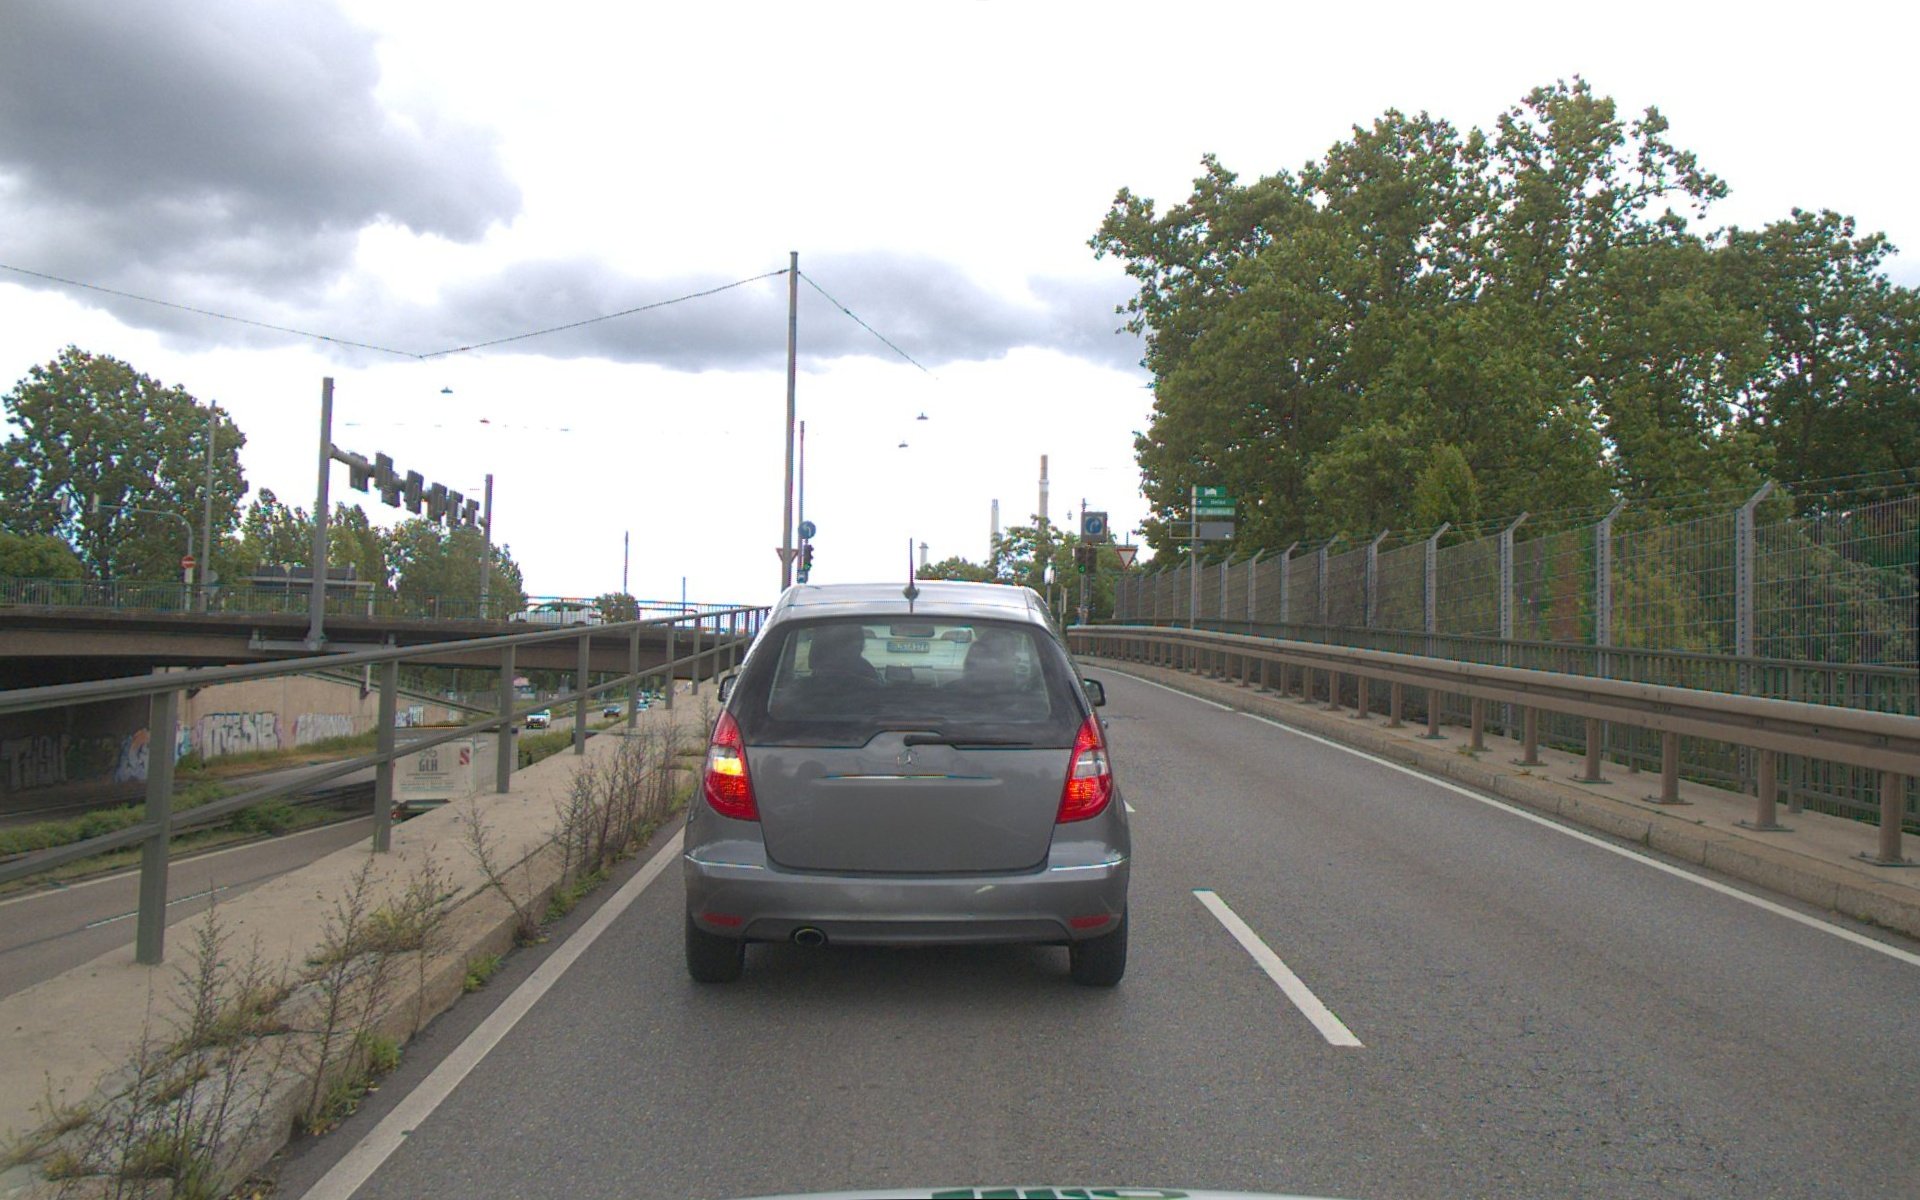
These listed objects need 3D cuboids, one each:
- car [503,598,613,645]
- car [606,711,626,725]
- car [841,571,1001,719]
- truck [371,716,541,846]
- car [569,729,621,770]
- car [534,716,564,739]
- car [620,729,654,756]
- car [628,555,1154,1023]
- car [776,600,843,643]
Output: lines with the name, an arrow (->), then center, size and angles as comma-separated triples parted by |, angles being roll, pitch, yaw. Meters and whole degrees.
car -> -17.173, 0.897, 70.760 | 4.110, 1.903, 2.001 | 1, 0, 7
car -> -43.561, 14.953, 209.724 | 1.877, 1.769, 4.548 | 0, -3, -4
car -> -0.568, 0.551, 22.071 | 1.892, 1.747, 4.403 | 1, 0, -3
truck -> -14.458, 5.126, 48.086 | 2.690, 3.351, 7.438 | 0, -3, -1
car -> -20.234, 8.272, 91.889 | 1.860, 2.038, 4.956 | 1, -3, -1
car -> -40.576, 12.578, 163.294 | 1.954, 2.103, 5.171 | 1, -3, -5
car -> -22.533, 9.939, 115.500 | 1.861, 1.650, 4.174 | 1, -3, -4
car -> -0.266, 0.665, 7.812 | 1.820, 1.616, 3.999 | 1, 0, -1
car -> -5.970, 0.822, 65.233 | 1.803, 1.604, 4.326 | 1, 0, -17
